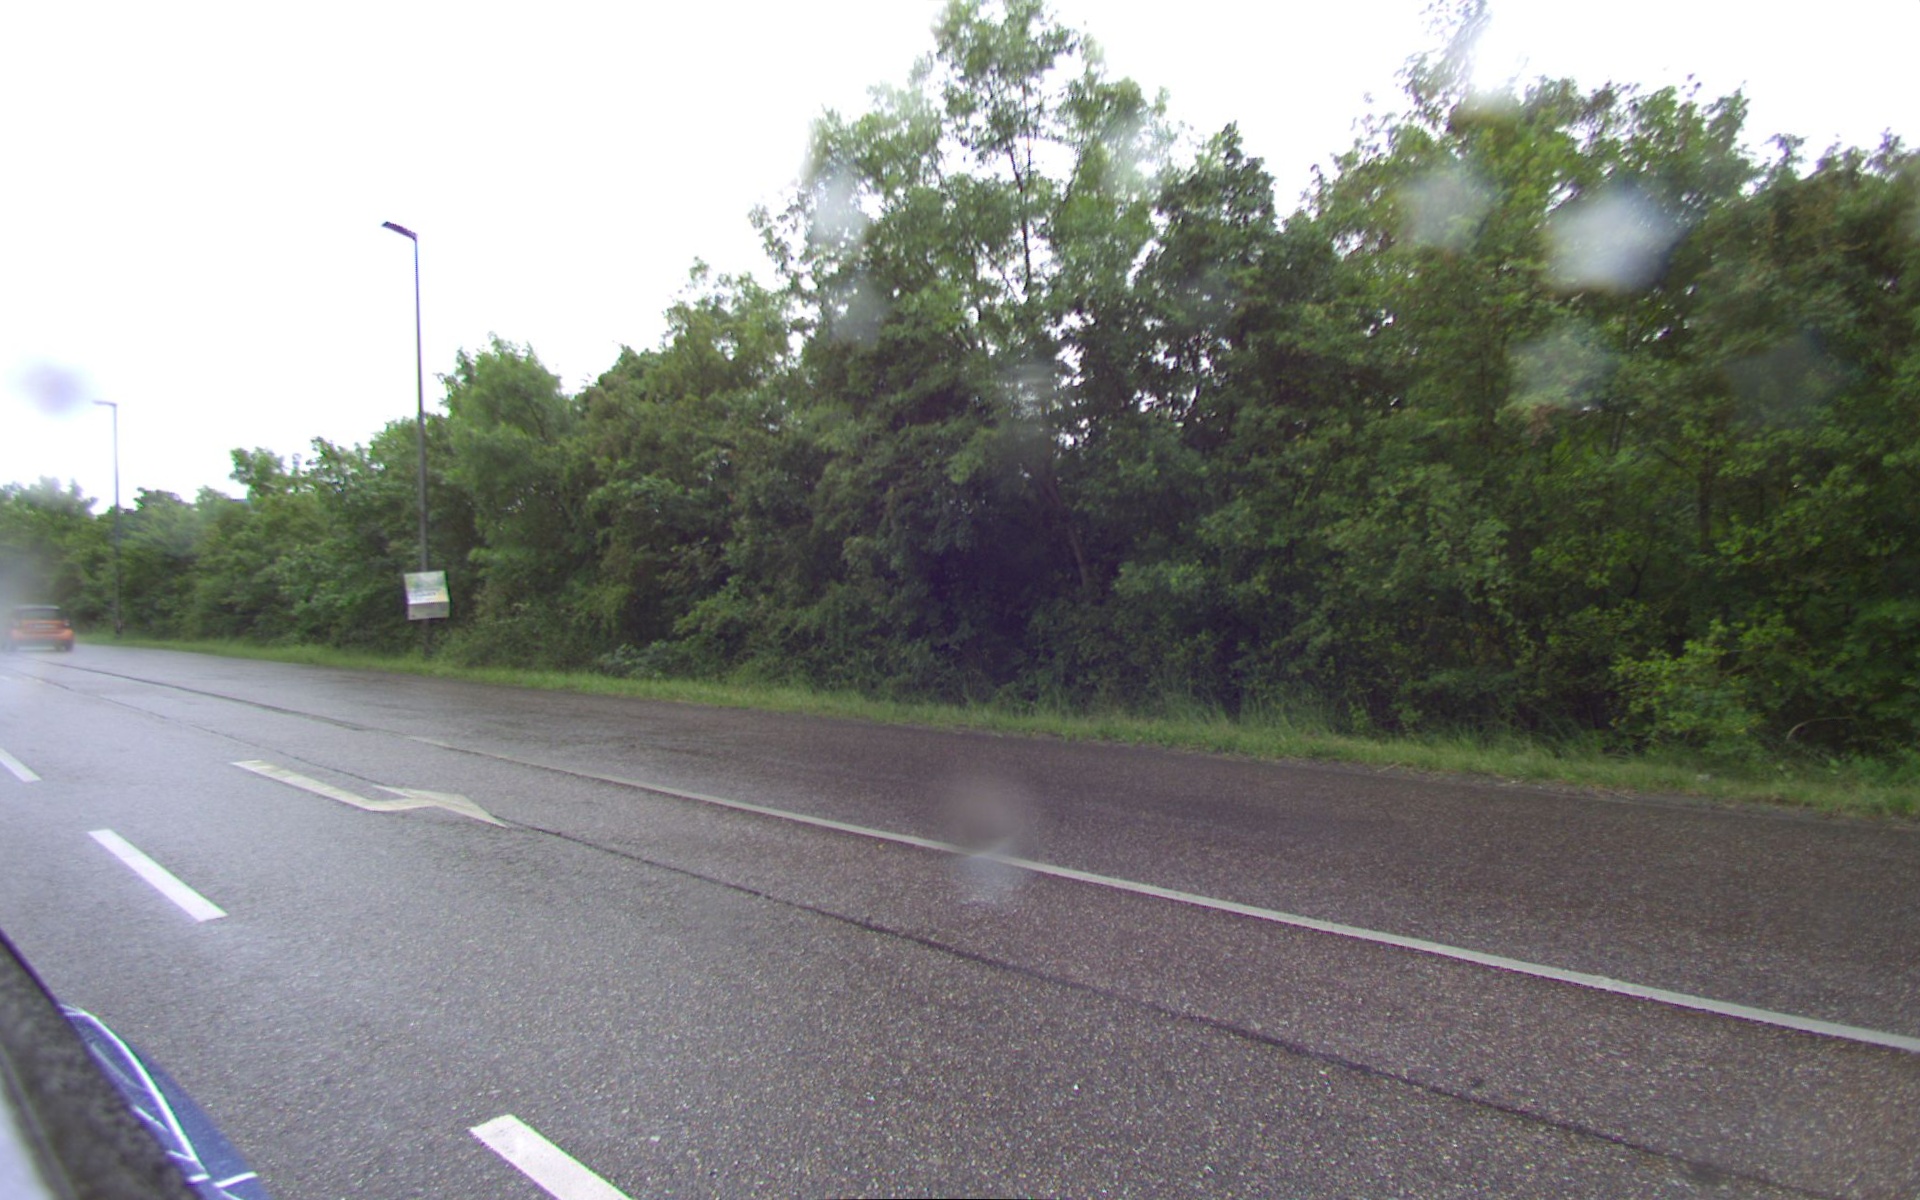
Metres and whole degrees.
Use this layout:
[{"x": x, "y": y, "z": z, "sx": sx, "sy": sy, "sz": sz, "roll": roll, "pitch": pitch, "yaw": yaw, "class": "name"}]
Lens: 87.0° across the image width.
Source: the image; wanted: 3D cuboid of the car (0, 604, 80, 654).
[{"x": -32.155, "y": 0.961, "z": 35.066, "sx": 3.998, "sy": 1.597, "sz": 1.973, "roll": 0, "pitch": 0, "yaw": 41, "class": "car"}]
